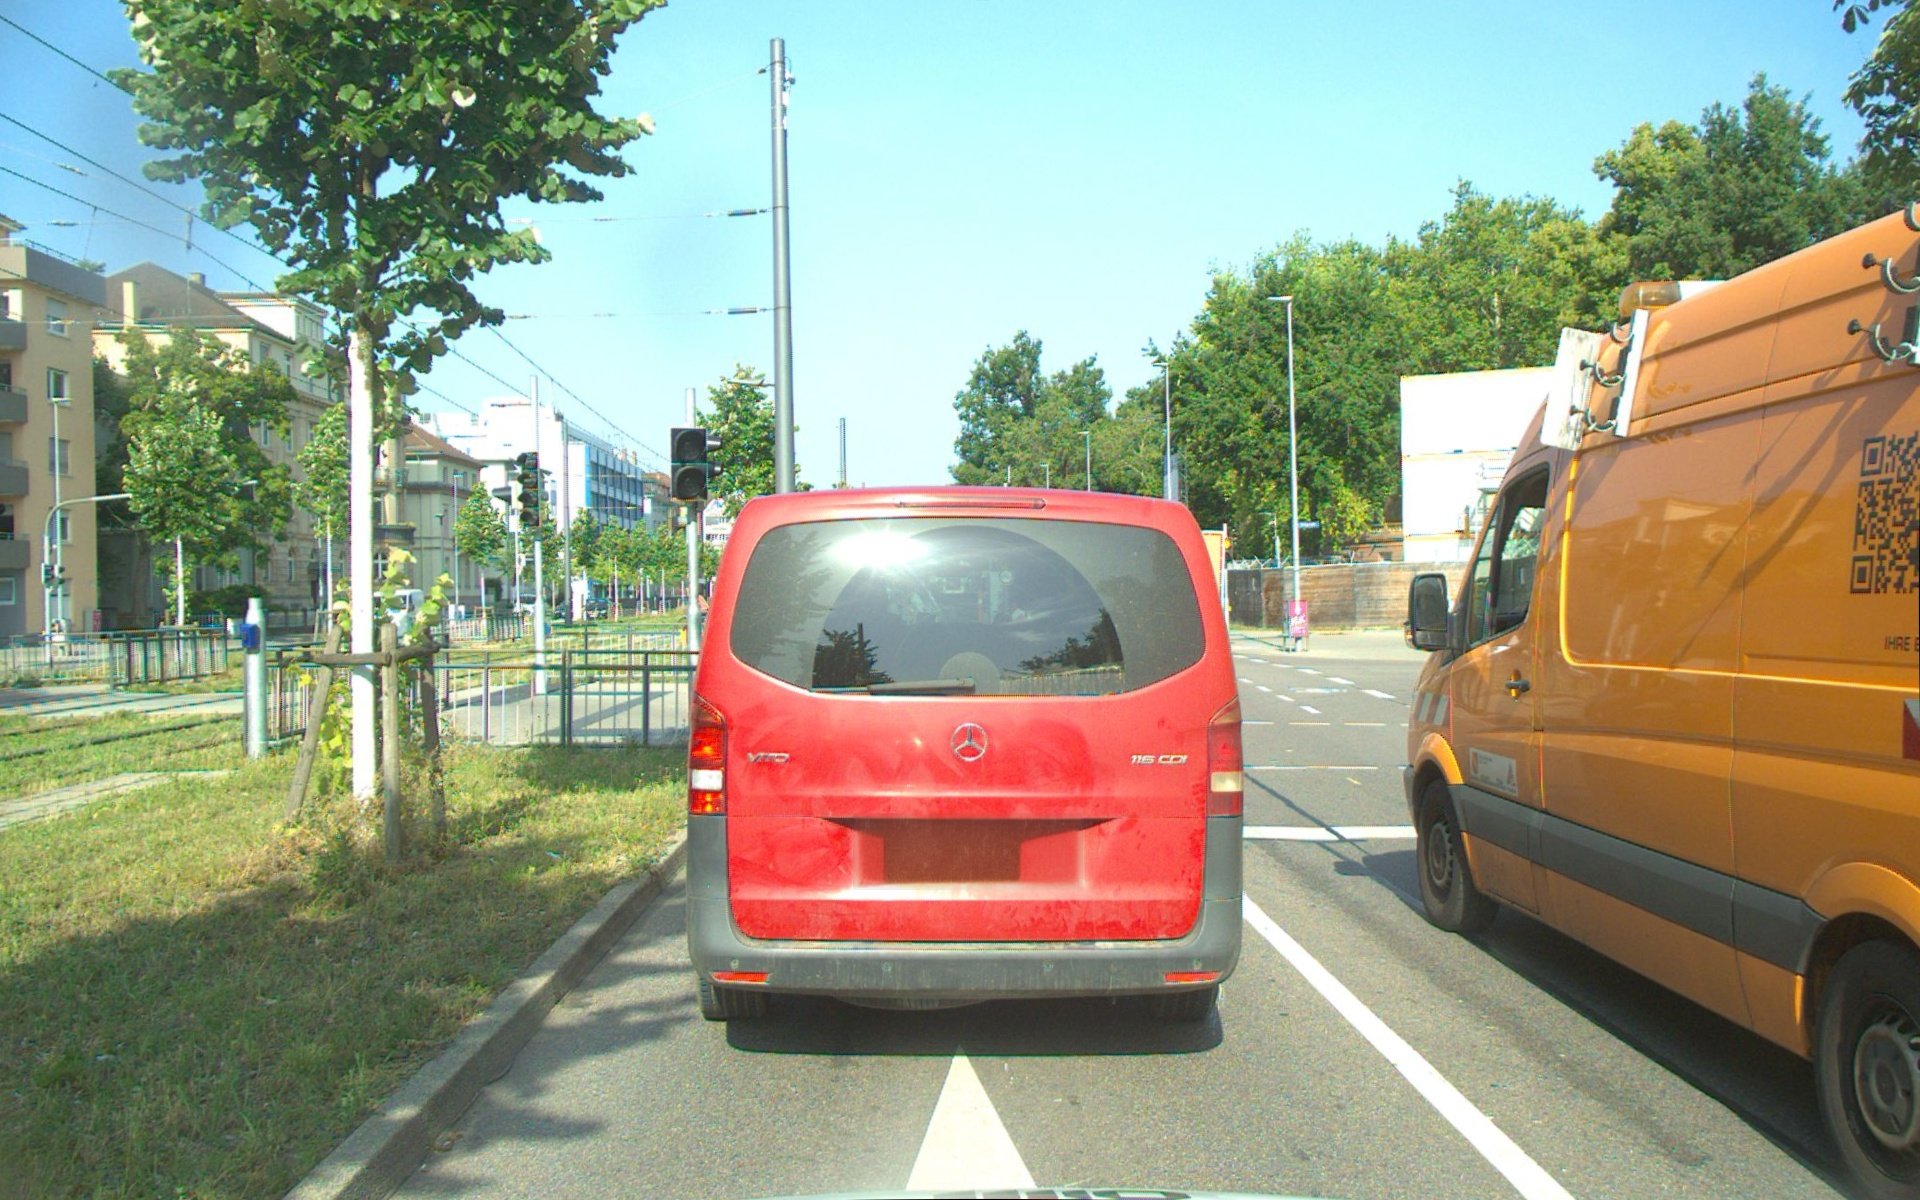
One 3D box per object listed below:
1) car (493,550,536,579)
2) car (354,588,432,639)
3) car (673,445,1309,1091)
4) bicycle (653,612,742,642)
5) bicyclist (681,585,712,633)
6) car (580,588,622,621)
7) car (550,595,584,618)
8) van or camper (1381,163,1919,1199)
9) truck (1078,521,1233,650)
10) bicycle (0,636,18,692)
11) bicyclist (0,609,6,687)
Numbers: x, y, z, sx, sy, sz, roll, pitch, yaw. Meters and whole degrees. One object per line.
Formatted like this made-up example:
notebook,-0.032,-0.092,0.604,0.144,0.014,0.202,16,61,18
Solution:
car,-35.351,-2.781,131.436,2.205,2.049,5.259,1,-2,-3
car,-26.622,0.577,77.872,2.005,2.278,5.332,-1,0,-2
car,0.054,0.493,6.892,1.862,1.892,3.999,1,0,-1
bicycle,-9.207,0.955,58.081,2.924,0.982,0.901,-1,0,5
bicyclist,-9.251,0.319,58.089,0.871,1.657,0.893,-1,0,5
car,-24.244,0.321,111.801,1.953,2.048,3.999,-3,0,-1
car,-30.555,0.514,128.662,1.707,1.702,3.999,-1,0,-1
van or camper,3.209,0.241,5.555,1.945,2.515,6.060,0,0,-1
truck,5.051,-0.338,44.262,2.454,3.114,7.810,1,0,-6
bicycle,-17.367,1.169,28.961,1.574,0.951,0.558,-4,1,19
bicyclist,-17.344,0.856,28.943,0.950,1.419,0.546,-4,1,19
